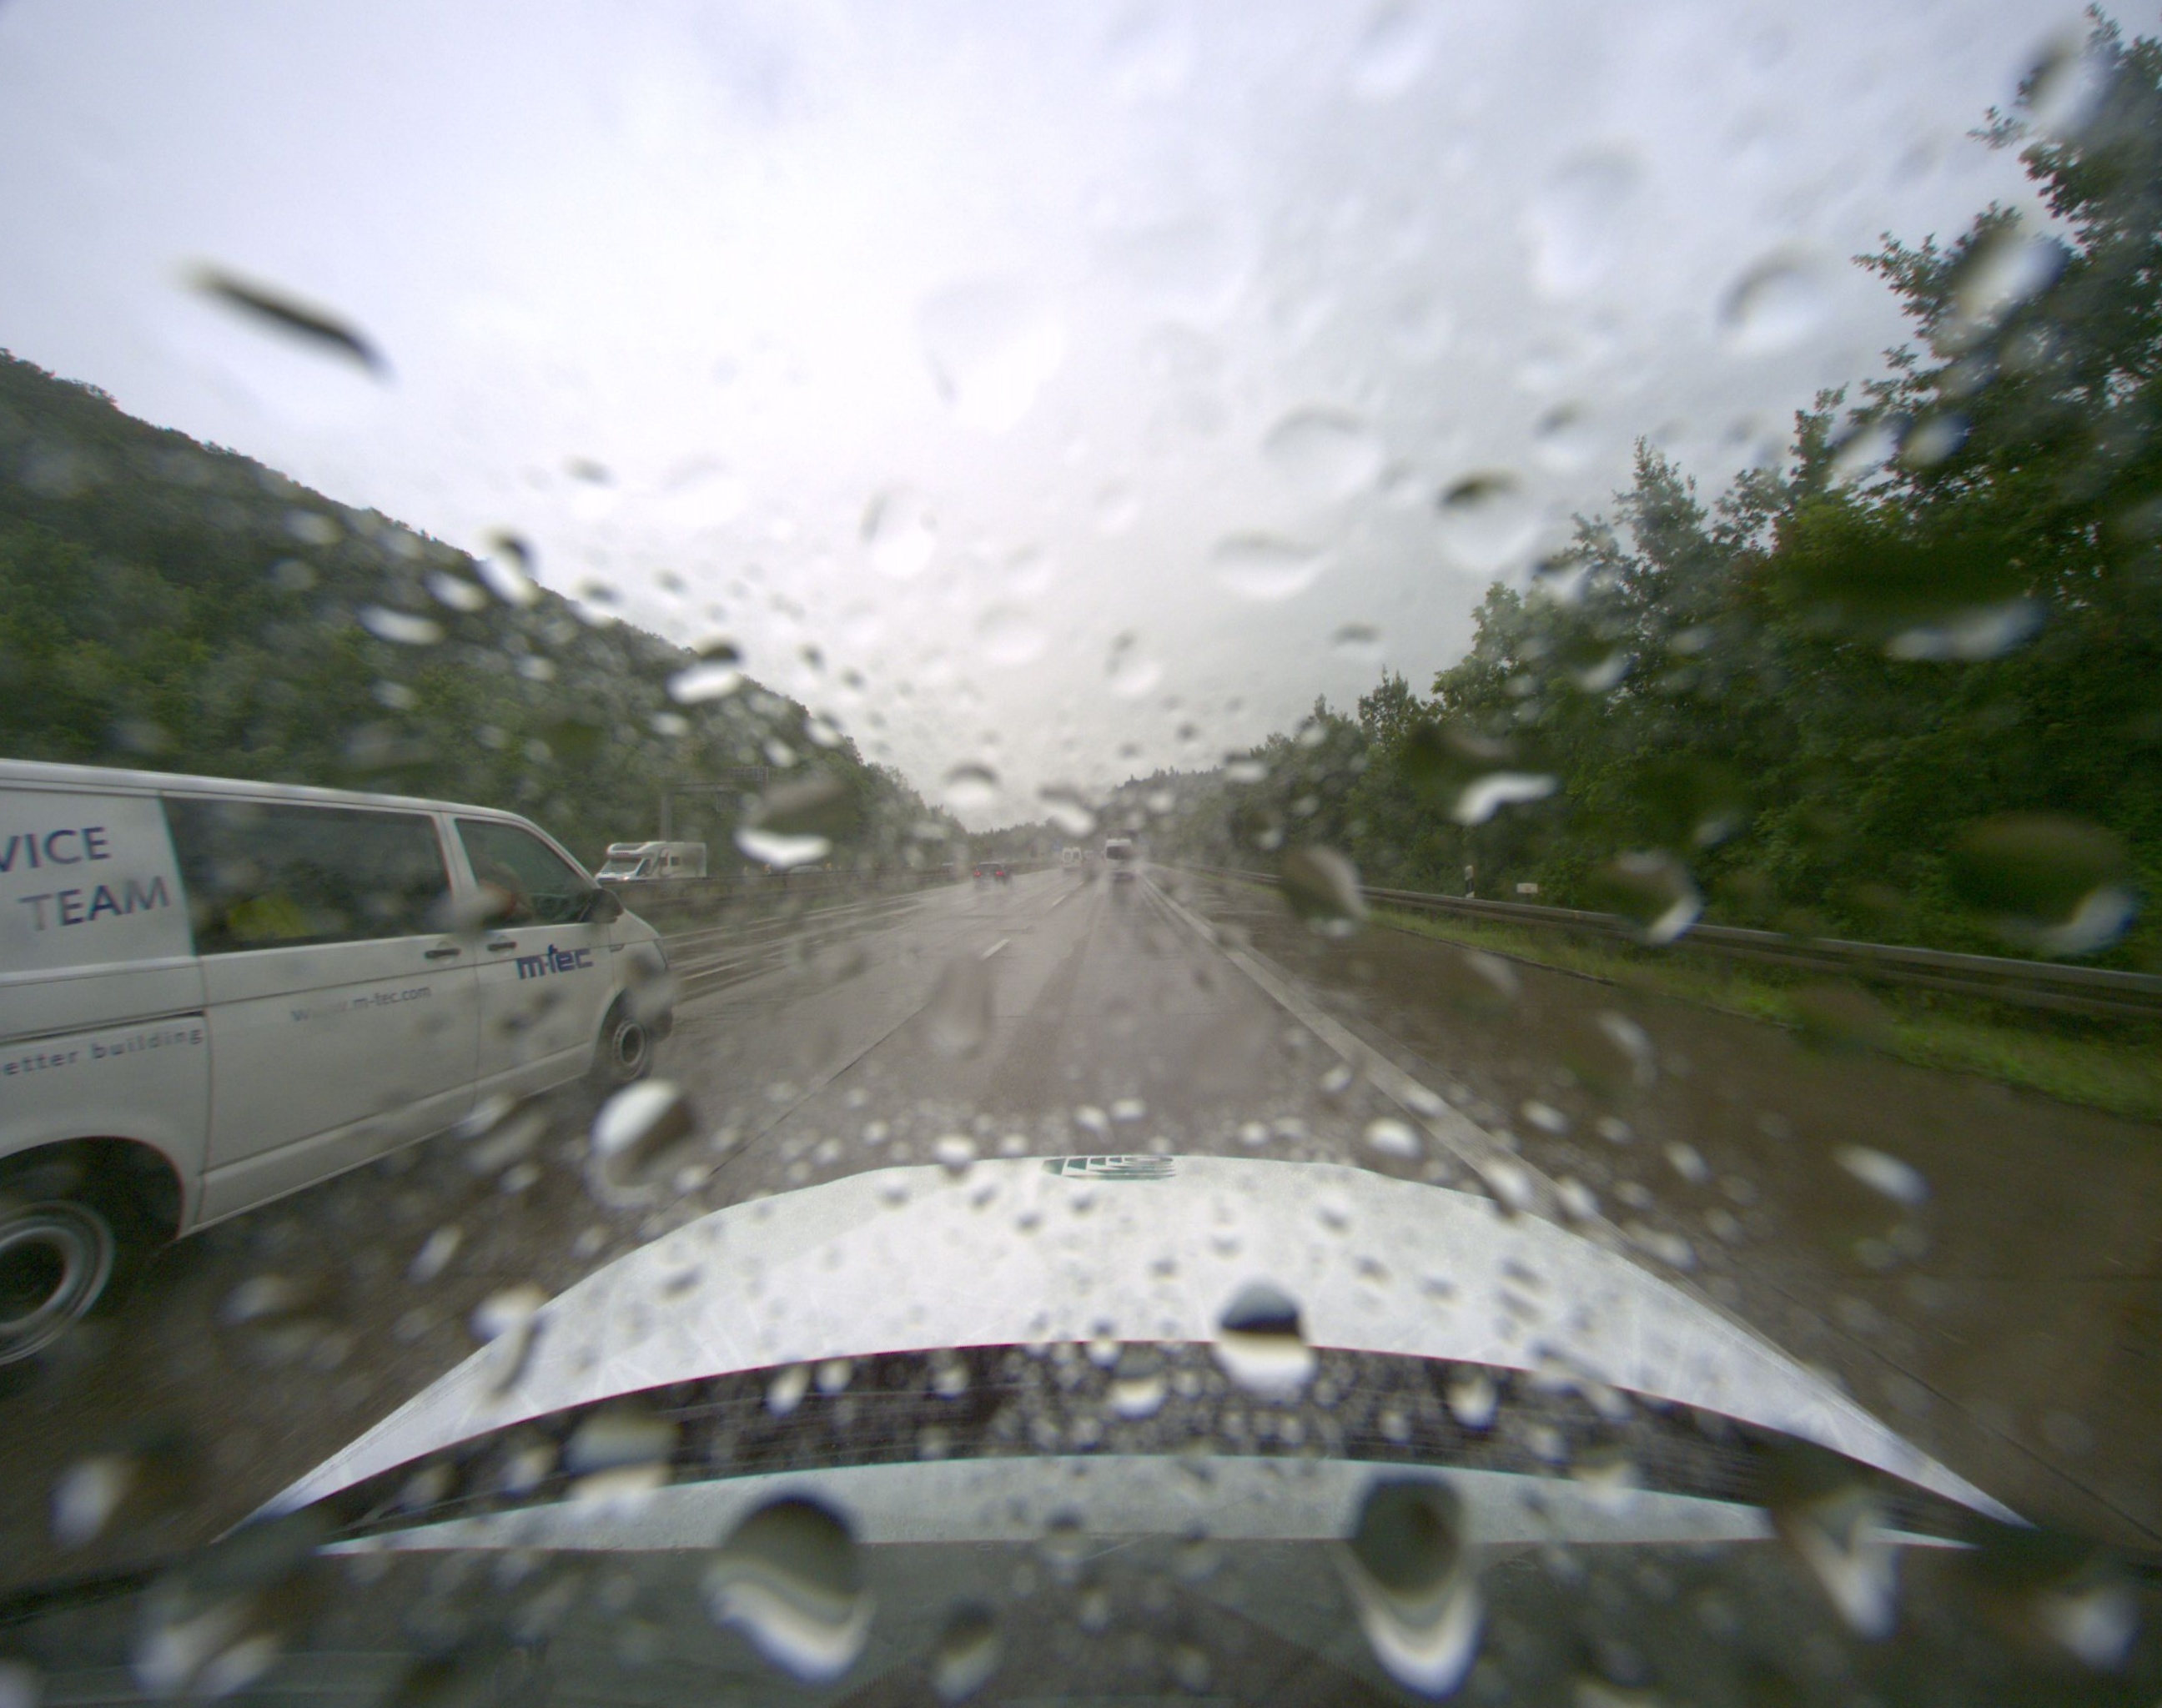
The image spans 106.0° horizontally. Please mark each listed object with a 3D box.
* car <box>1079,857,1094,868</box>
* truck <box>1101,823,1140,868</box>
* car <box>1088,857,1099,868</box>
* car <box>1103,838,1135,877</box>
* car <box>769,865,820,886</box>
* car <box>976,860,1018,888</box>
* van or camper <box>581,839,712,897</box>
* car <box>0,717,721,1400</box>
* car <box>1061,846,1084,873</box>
[{"bbox_3d":[0.689,1.078,105.359,1.851,1.339,4.349,1,0,-1],"label":"car"},{"bbox_3d":[3.735,-0.888,78.022,3.372,3.968,8.671,-3,1,2],"label":"truck"},{"bbox_3d":[2.267,1.481,145.006,1.862,1.810,4.189,1,0,1],"label":"car"},{"bbox_3d":[2.415,0.210,52.564,1.893,2.334,5.251,1,0,1],"label":"car"},{"bbox_3d":[-18.681,1.372,53.287,1.746,1.303,4.344,1,0,1],"label":"car"},{"bbox_3d":[-4.465,1.036,43.790,1.735,1.388,4.321,-2,-1,1],"label":"car"},{"bbox_3d":[-22.451,0.674,42.650,2.546,2.718,7.503,-1,0,3],"label":"van or camper"},{"bbox_3d":[-3.892,0.586,3.924,1.892,1.894,5.045,-1,0,2],"label":"car"},{"bbox_3d":[-0.772,0.515,77.346,1.991,2.432,5.791,1,0,1],"label":"car"}]
